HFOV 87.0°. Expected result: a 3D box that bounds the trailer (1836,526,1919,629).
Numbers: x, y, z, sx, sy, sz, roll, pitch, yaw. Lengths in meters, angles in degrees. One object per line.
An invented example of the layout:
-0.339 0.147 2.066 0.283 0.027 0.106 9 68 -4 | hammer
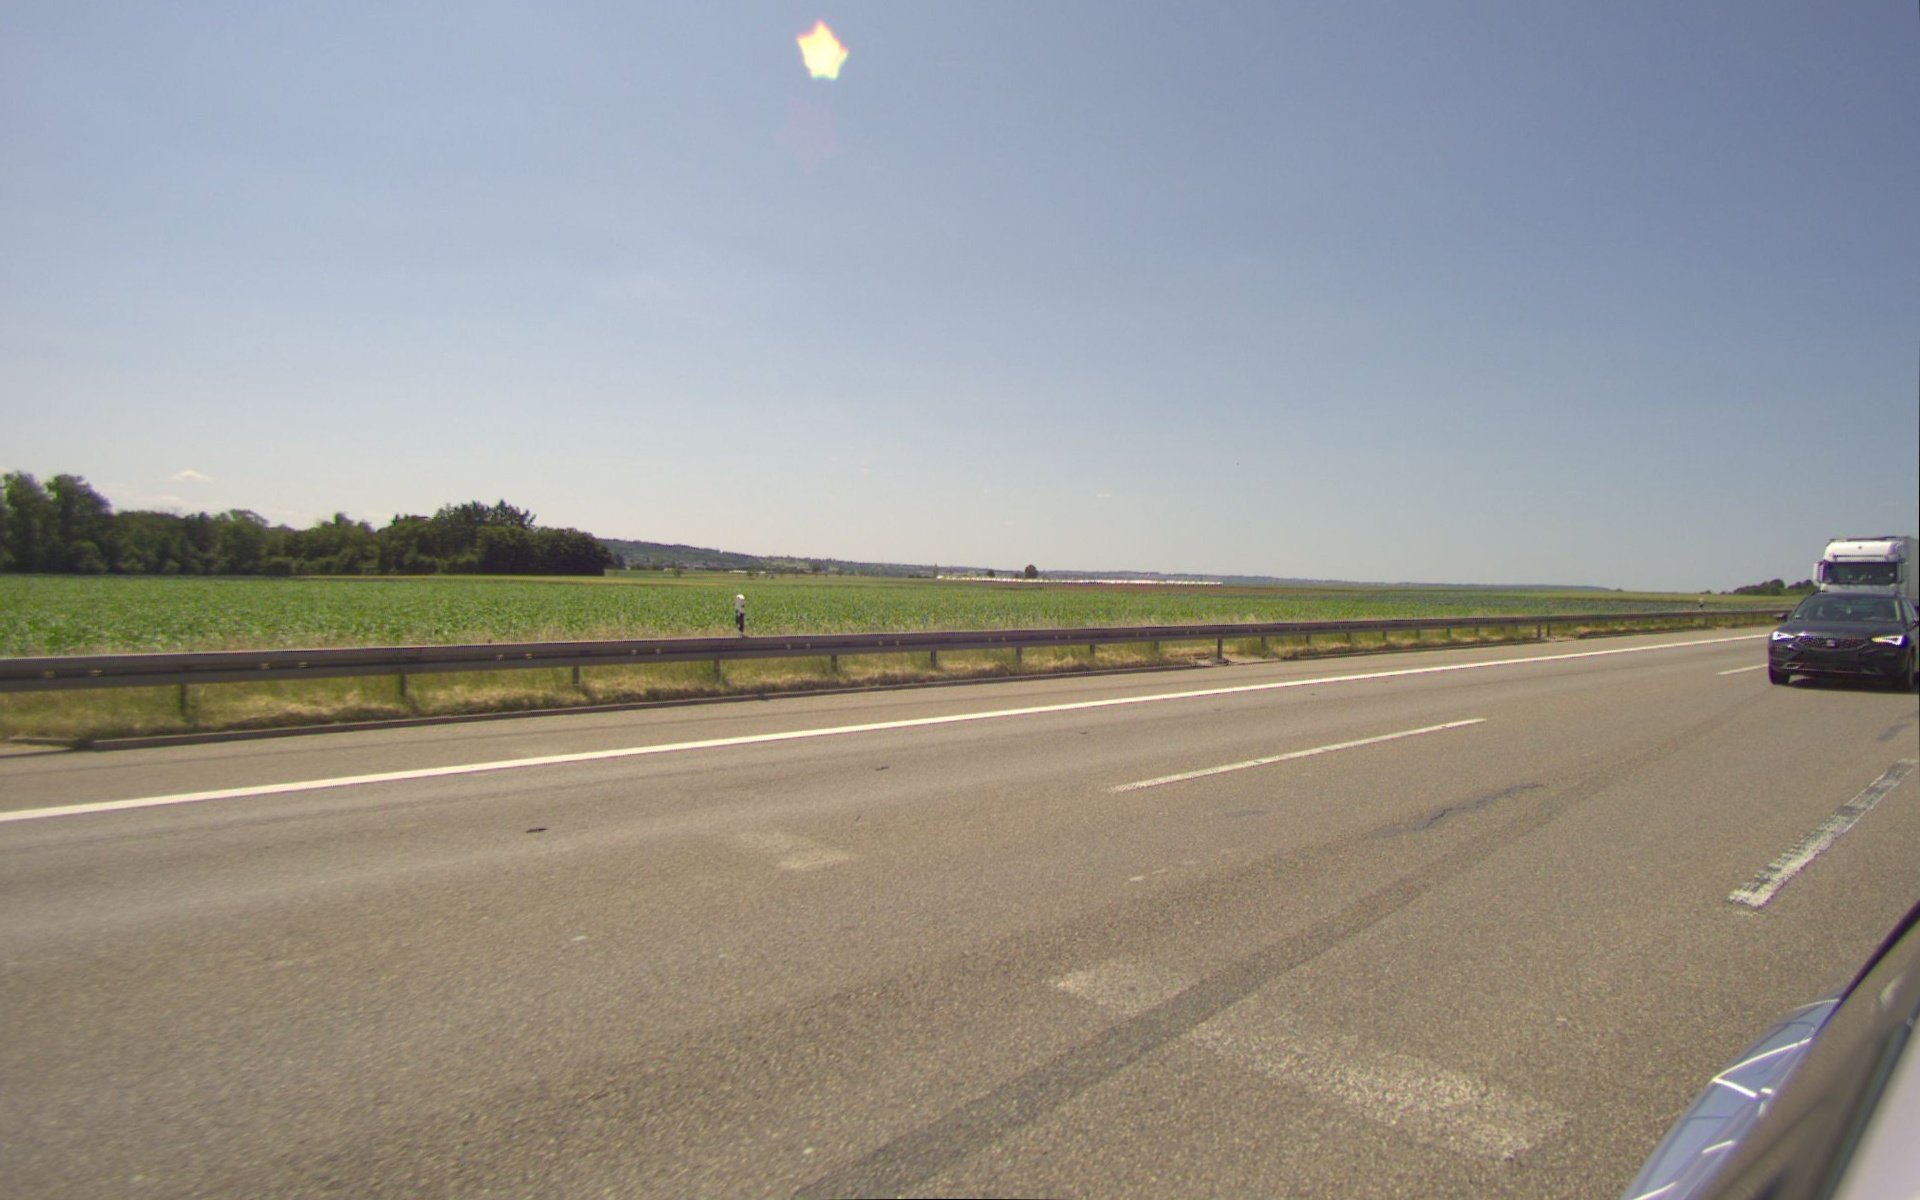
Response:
43.727 -0.953 47.017 13.063 4.273 2.872 0 0 -41 | trailer

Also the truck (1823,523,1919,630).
38.787 -0.921 42.605 6.761 4.143 2.867 0 0 -42 | truck

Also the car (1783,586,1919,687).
15.767 0.559 17.581 3.759 1.582 1.798 0 0 -43 | car
